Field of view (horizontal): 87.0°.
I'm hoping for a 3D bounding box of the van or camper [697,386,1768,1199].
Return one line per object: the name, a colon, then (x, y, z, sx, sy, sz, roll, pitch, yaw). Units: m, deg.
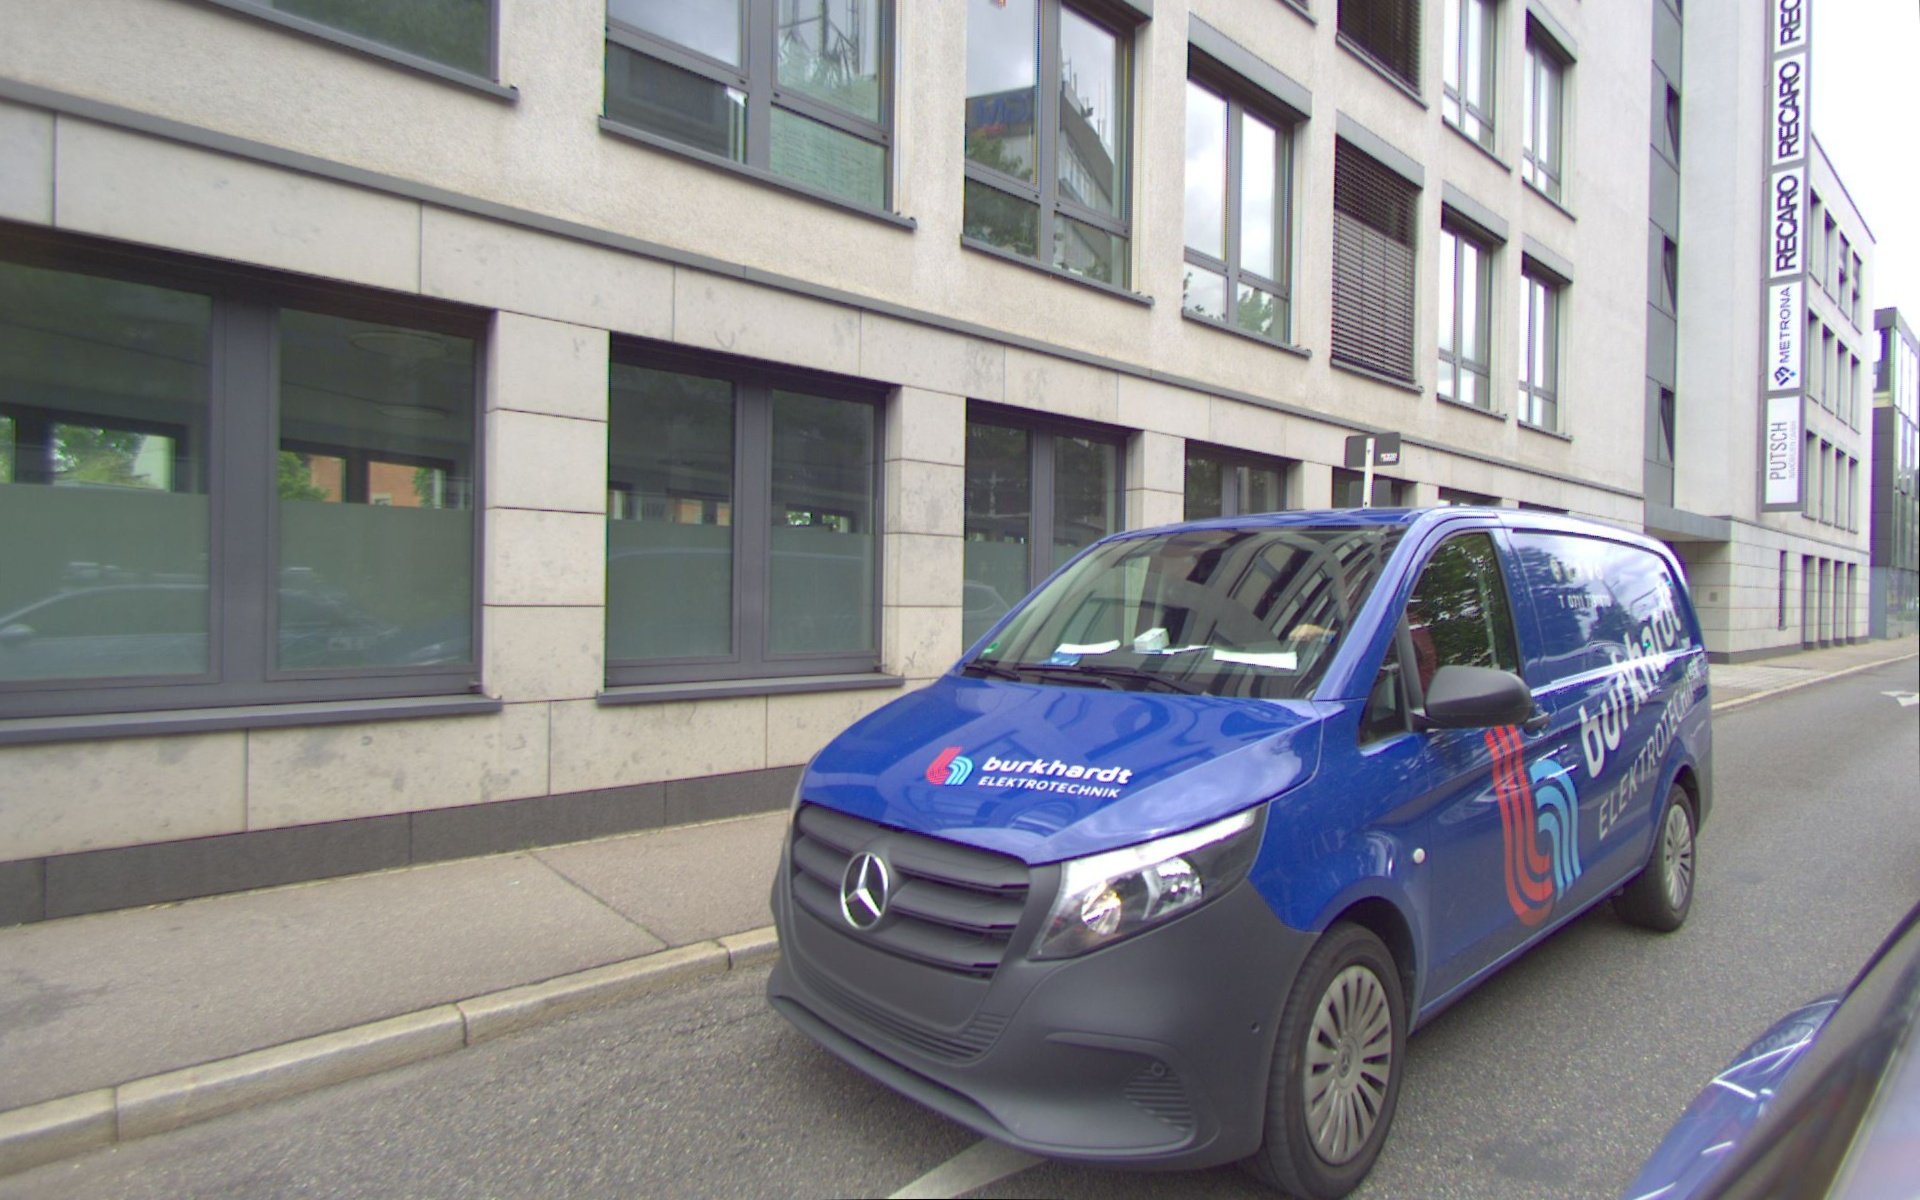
van or camper: (1.614, 0.544, 4.223, 4.944, 1.935, 1.863, 0, 1, -41)
